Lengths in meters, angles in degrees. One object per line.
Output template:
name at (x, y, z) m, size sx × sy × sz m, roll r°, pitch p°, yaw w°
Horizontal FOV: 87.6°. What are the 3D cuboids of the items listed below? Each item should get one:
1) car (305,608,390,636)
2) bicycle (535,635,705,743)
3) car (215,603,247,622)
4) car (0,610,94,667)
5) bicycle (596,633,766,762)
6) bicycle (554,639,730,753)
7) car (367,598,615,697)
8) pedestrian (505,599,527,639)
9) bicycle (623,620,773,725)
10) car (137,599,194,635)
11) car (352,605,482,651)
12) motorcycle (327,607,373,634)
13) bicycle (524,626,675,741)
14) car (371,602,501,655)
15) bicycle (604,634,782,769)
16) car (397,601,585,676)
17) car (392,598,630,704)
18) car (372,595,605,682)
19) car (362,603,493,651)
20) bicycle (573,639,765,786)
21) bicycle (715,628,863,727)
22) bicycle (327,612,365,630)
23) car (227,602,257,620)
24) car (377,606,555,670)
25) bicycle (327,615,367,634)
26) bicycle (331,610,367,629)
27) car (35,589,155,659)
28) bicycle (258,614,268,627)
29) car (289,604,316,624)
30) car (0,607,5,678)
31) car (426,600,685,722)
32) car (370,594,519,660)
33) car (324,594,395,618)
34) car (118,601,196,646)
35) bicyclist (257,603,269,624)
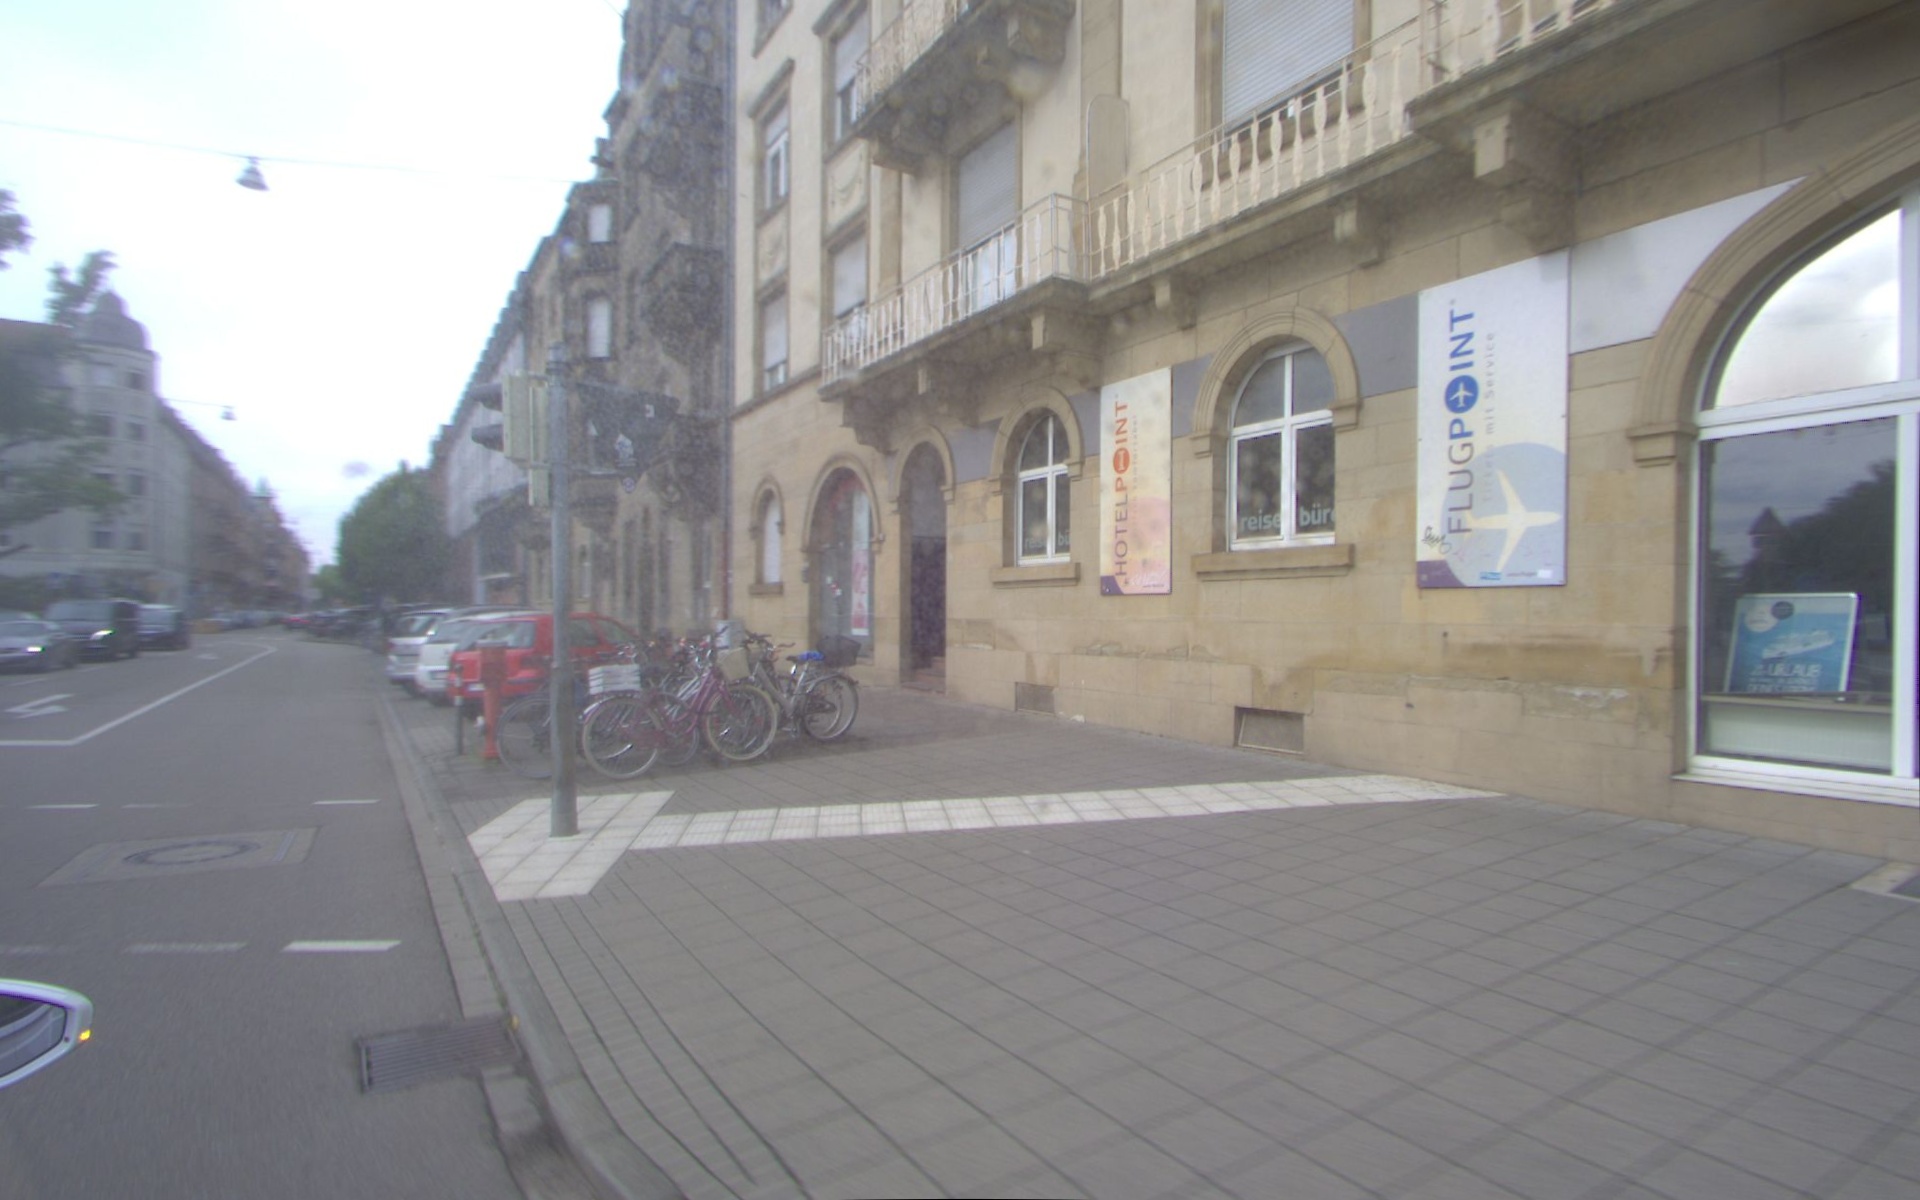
car at (-39.112, 1.405, 64.041) m, size 1.833 × 1.600 × 4.271 m, roll -1°, pitch 1°, yaw 25°
bicycle at (-3.822, 0.970, 11.319) m, size 1.714 × 1.053 × 0.473 m, roll -3°, pitch 1°, yaw -32°
car at (-65.298, 1.117, 89.707) m, size 1.924 × 1.638 × 3.921 m, roll 2°, pitch -2°, yaw -31°
car at (-23.574, 0.947, 25.385) m, size 1.685 × 1.303 × 4.021 m, roll -2°, pitch 0°, yaw -30°
bicycle at (-2.812, 0.951, 10.165) m, size 1.550 × 1.142 × 0.473 m, roll -3°, pitch 1°, yaw -32°
bicycle at (-3.410, 0.999, 10.816) m, size 1.714 × 1.053 × 0.473 m, roll -3°, pitch 1°, yaw -32°
car at (-9.109, 0.847, 19.843) m, size 1.885 × 1.705 × 4.210 m, roll -1°, pitch 0°, yaw 24°
pedestrian at (-17.594, 0.756, 39.647) m, size 0.544 × 1.549 × 0.562 m, roll 0°, pitch -1°, yaw 16°
bicycle at (-3.352, 0.901, 12.896) m, size 1.760 × 1.188 × 0.493 m, roll -3°, pitch 1°, yaw -32°
car at (-45.761, 0.977, 57.734) m, size 1.823 × 1.965 × 4.524 m, roll 1°, pitch -1°, yaw -29°
car at (-21.515, 1.063, 39.806) m, size 1.661 × 1.499 × 4.233 m, roll 1°, pitch 3°, yaw 34°
motorcycle at (-34.035, 1.157, 55.872) m, size 2.113 × 1.448 × 0.766 m, roll 0°, pitch -1°, yaw -35°
bicycle at (-4.190, 0.939, 11.690) m, size 1.550 × 1.188 × 0.473 m, roll -3°, pitch 1°, yaw -32°
car at (-18.596, 0.959, 35.757) m, size 1.734 × 1.623 × 3.990 m, roll 0°, pitch 2°, yaw 19°
bicycle at (-2.571, 0.943, 9.710) m, size 1.550 × 1.142 × 0.473 m, roll -3°, pitch 1°, yaw -32°
car at (-11.920, 0.916, 25.833) m, size 1.717 × 1.595 × 4.453 m, roll 0°, pitch 2°, yaw 20°
car at (-7.688, 0.814, 17.531) m, size 1.816 × 1.529 × 3.580 m, roll -2°, pitch 1°, yaw 17°
car at (-10.570, 0.807, 22.898) m, size 1.904 × 1.708 × 4.738 m, roll -2°, pitch 1°, yaw 22°
car at (-20.114, 0.961, 37.984) m, size 1.903 × 1.555 × 3.980 m, roll 0°, pitch 2°, yaw 29°
bicycle at (-2.604, 0.967, 9.030) m, size 1.550 × 1.142 × 0.473 m, roll -3°, pitch 1°, yaw -32°
bicycle at (-2.084, 0.922, 12.318) m, size 1.714 × 1.053 × 0.473 m, roll -3°, pitch 1°, yaw -32°
bicycle at (-35.969, 1.229, 58.648) m, size 1.865 × 1.057 × 0.608 m, roll 0°, pitch -1°, yaw -35°
car at (-68.328, 1.078, 95.332) m, size 1.924 × 1.638 × 3.921 m, roll 2°, pitch -2°, yaw -31°
car at (-13.657, 0.993, 28.004) m, size 1.819 × 1.573 × 4.455 m, roll 0°, pitch 0°, yaw 20°
bicycle at (-35.166, 1.411, 57.439) m, size 1.910 × 1.057 × 0.608 m, roll 0°, pitch -1°, yaw -35°
bicycle at (-37.005, 1.186, 60.659) m, size 1.865 × 1.156 × 0.608 m, roll 0°, pitch -1°, yaw -35°
car at (-26.731, 0.698, 31.148) m, size 1.891 × 1.980 × 5.254 m, roll 1°, pitch -1°, yaw -31°
bicycle at (-63.379, 1.865, 91.035) m, size 0.561 × 1.102 × 1.976 m, roll 1°, pitch 0°, yaw -30°
car at (-59.711, 1.324, 91.005) m, size 1.973 × 1.702 × 3.977 m, roll 1°, pitch -2°, yaw -32°
car at (-20.022, 0.880, 19.287) m, size 1.585 × 1.476 × 3.697 m, roll -2°, pitch 0°, yaw -32°
car at (-5.919, 0.823, 15.202) m, size 1.761 × 1.582 × 3.830 m, roll -1°, pitch 0°, yaw 12°
car at (-16.924, 0.822, 33.125) m, size 1.846 × 1.933 × 4.273 m, roll 0°, pitch 2°, yaw 17°
car at (-56.108, 0.548, 93.763) m, size 1.918 × 2.155 × 5.607 m, roll 0°, pitch 0°, yaw 24°
car at (-32.623, 0.931, 40.805) m, size 1.825 × 1.706 × 4.523 m, roll 1°, pitch -1°, yaw -31°
bicyclist at (-63.496, 1.199, 91.245) m, size 0.773 × 1.891 × 0.711 m, roll 1°, pitch 0°, yaw -30°
